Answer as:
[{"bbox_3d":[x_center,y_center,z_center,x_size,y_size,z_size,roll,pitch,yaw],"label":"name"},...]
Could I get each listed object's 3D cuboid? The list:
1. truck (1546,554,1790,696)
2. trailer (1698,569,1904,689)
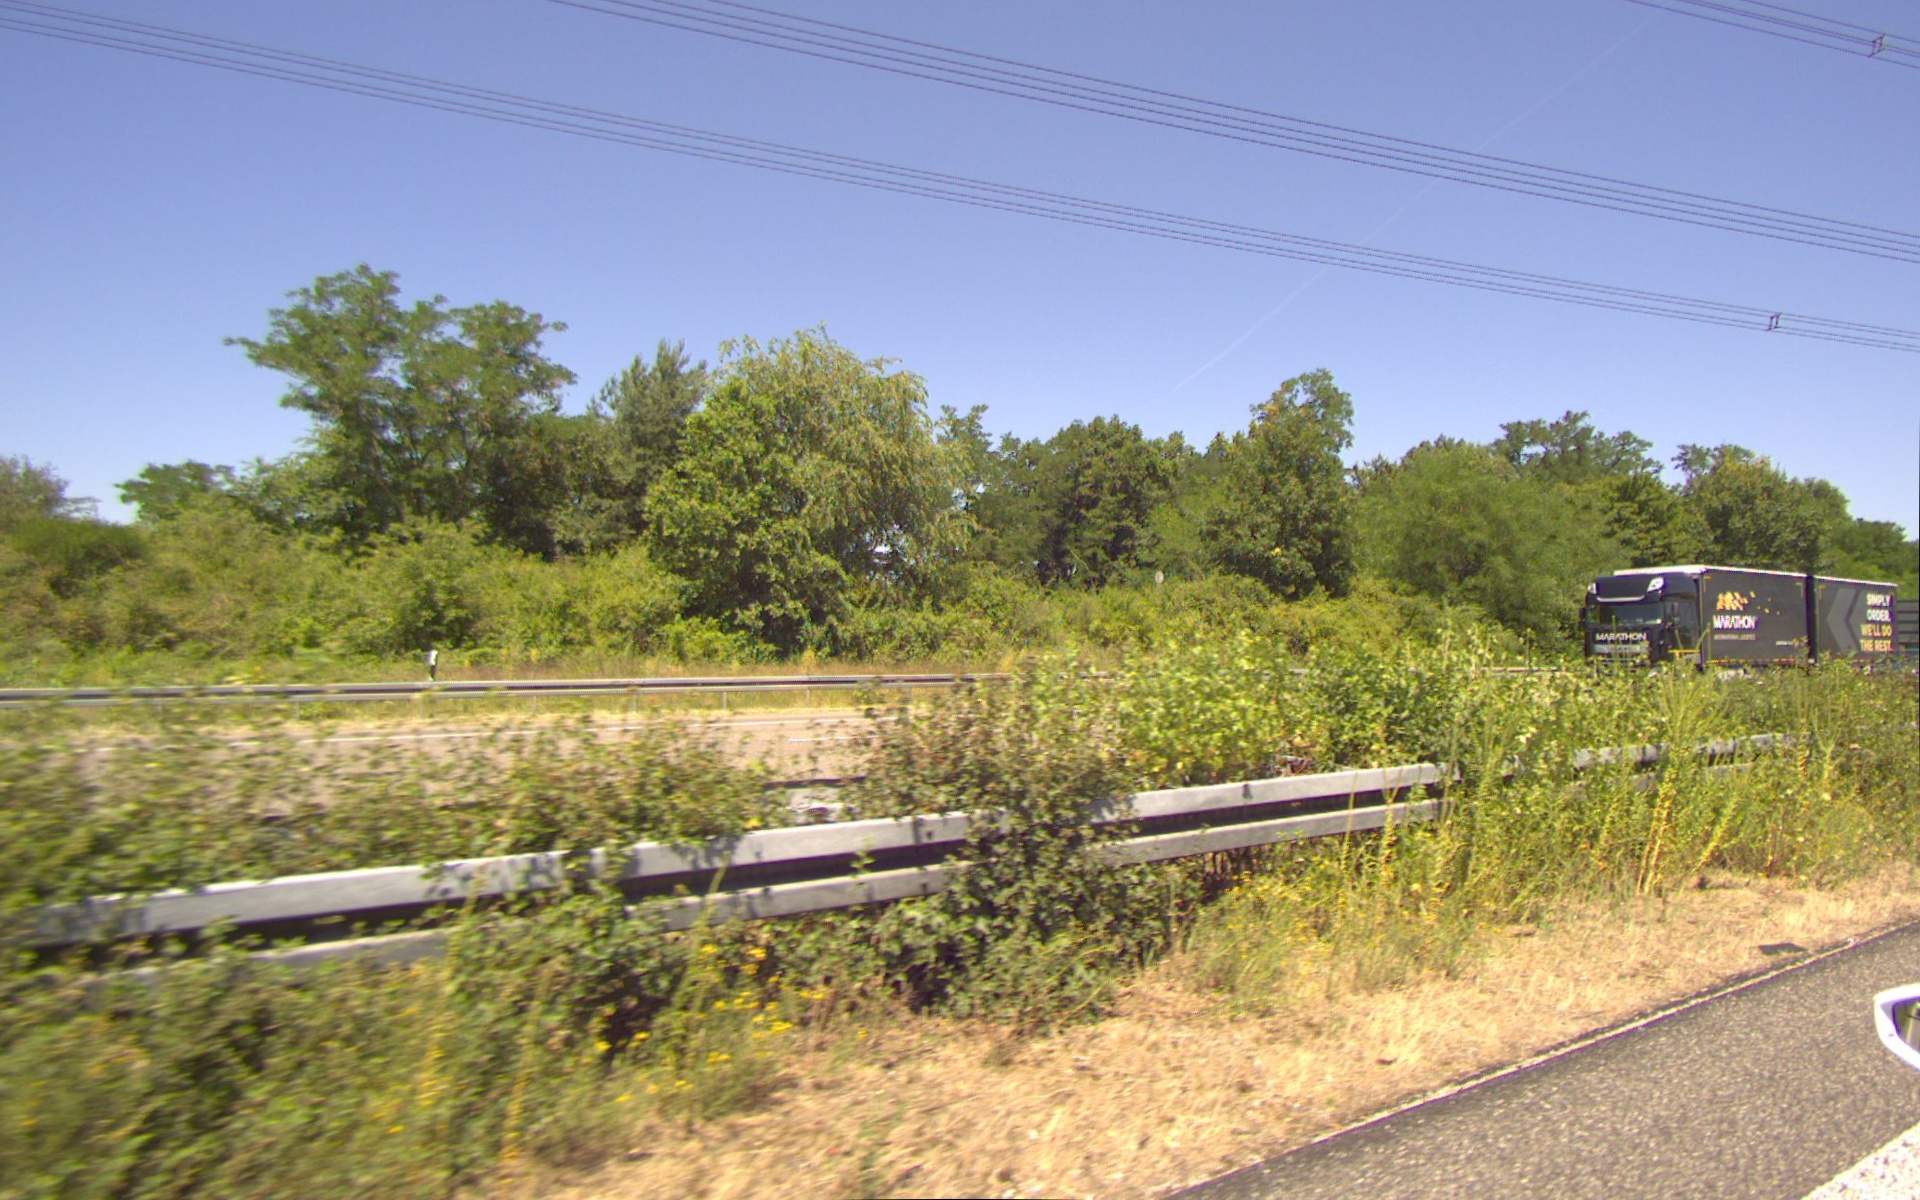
[{"bbox_3d":[23.707,0.905,33.396,10.098,4.175,2.745,2,-2,-31],"label":"truck"},{"bbox_3d":[32.449,1.177,38.581,10.177,4.149,2.754,2,-3,-30],"label":"trailer"}]
